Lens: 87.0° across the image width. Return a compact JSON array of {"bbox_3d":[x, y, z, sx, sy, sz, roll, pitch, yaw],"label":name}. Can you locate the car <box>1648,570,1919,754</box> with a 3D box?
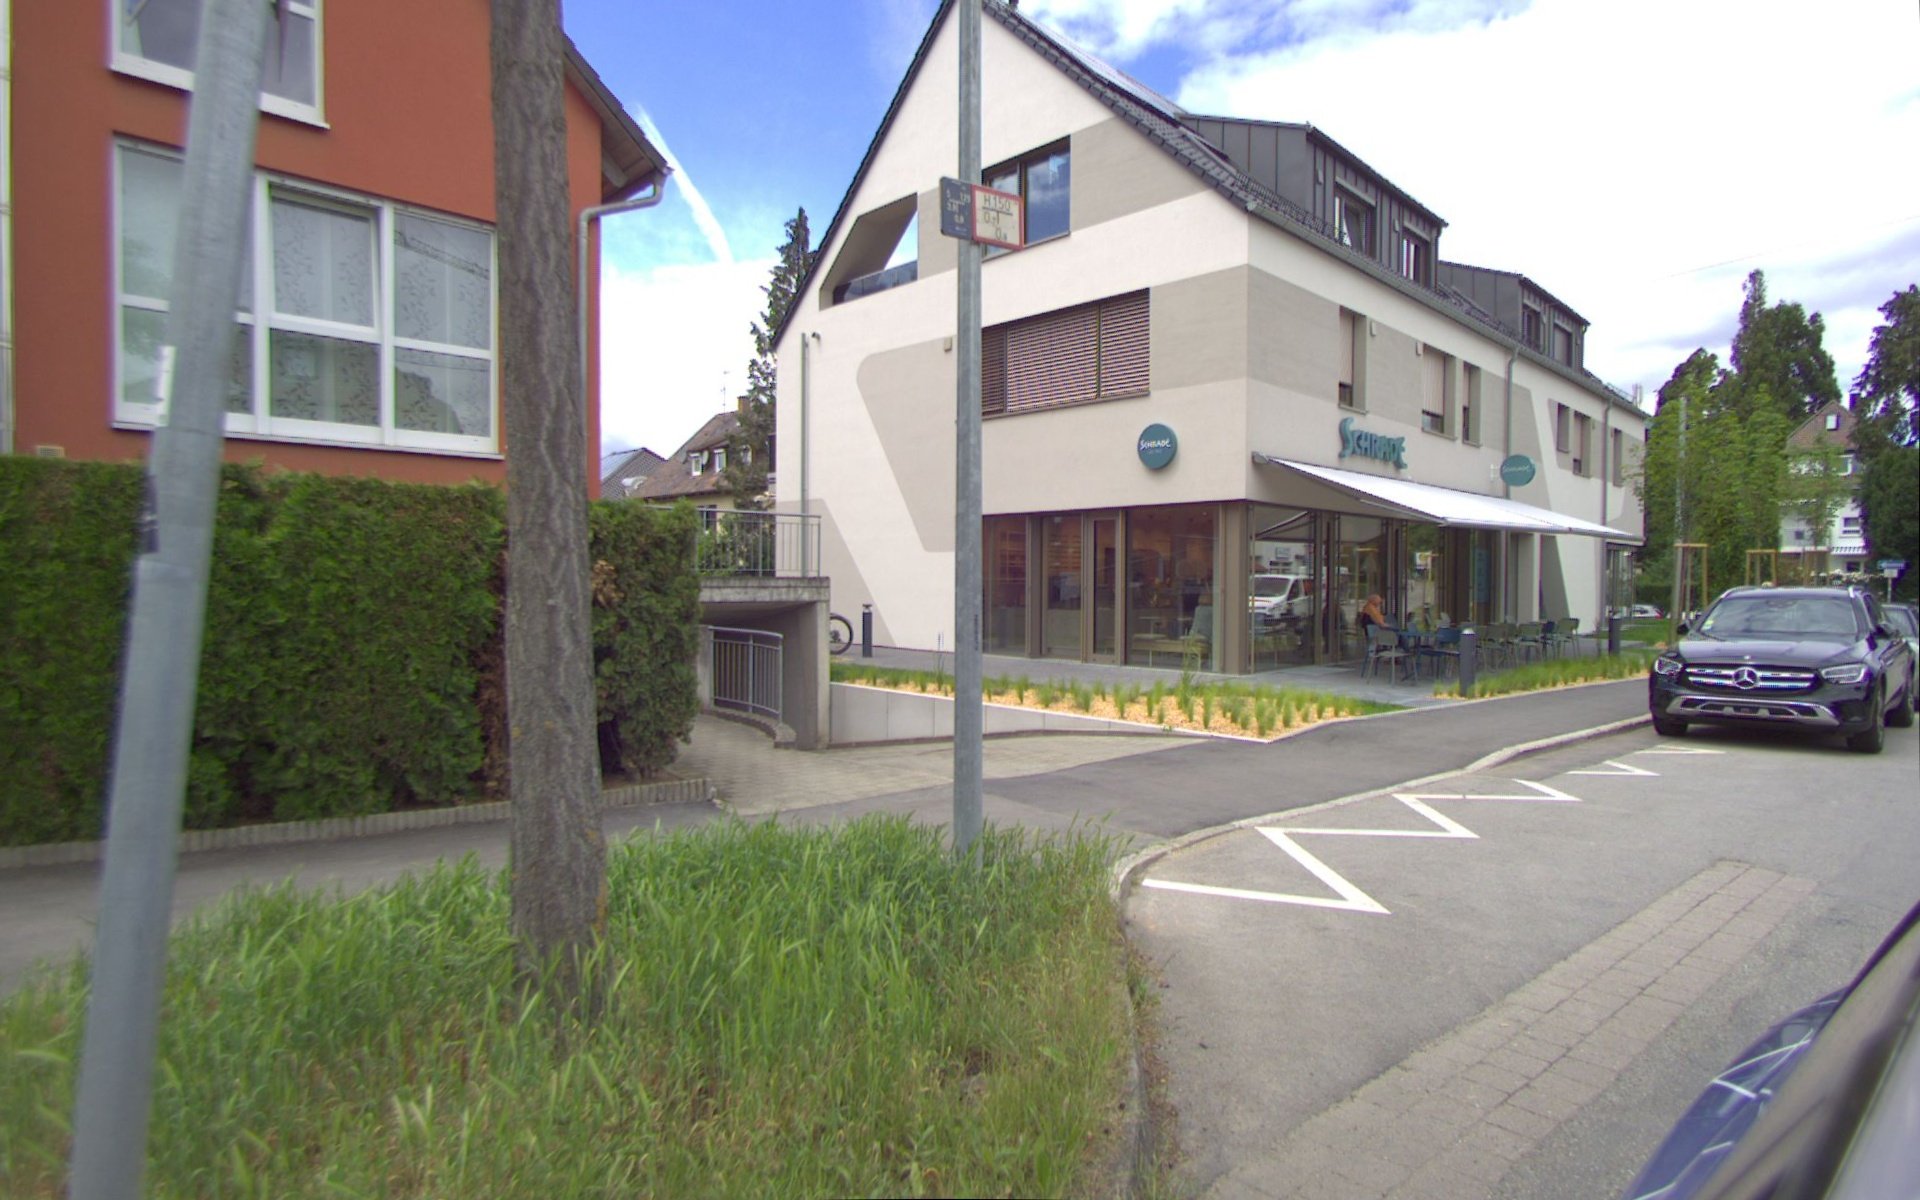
[{"bbox_3d":[9.352,0.538,11.242,4.389,1.657,1.849,0,0,-42],"label":"car"}]

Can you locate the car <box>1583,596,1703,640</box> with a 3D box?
[{"bbox_3d":[28.404,0.754,42.140,3.831,1.616,1.847,-4,-2,44],"label":"car"}]

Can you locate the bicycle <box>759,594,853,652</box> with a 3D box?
[{"bbox_3d":[-2.991,0.441,19.740,1.751,1.064,0.461,1,2,3],"label":"bicycle"}]

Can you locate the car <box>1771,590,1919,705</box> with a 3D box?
[{"bbox_3d":[13.320,0.595,14.753,3.768,1.470,1.710,0,0,-41],"label":"car"}]

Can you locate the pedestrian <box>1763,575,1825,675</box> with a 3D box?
[{"bbox_3d":[14.507,0.416,17.614,0.648,1.689,0.678,0,2,-39],"label":"pedestrian"}]

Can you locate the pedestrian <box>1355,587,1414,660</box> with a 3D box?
[{"bbox_3d":[7.499,0.400,17.872,0.681,1.254,0.751,0,1,-45],"label":"pedestrian"}]
